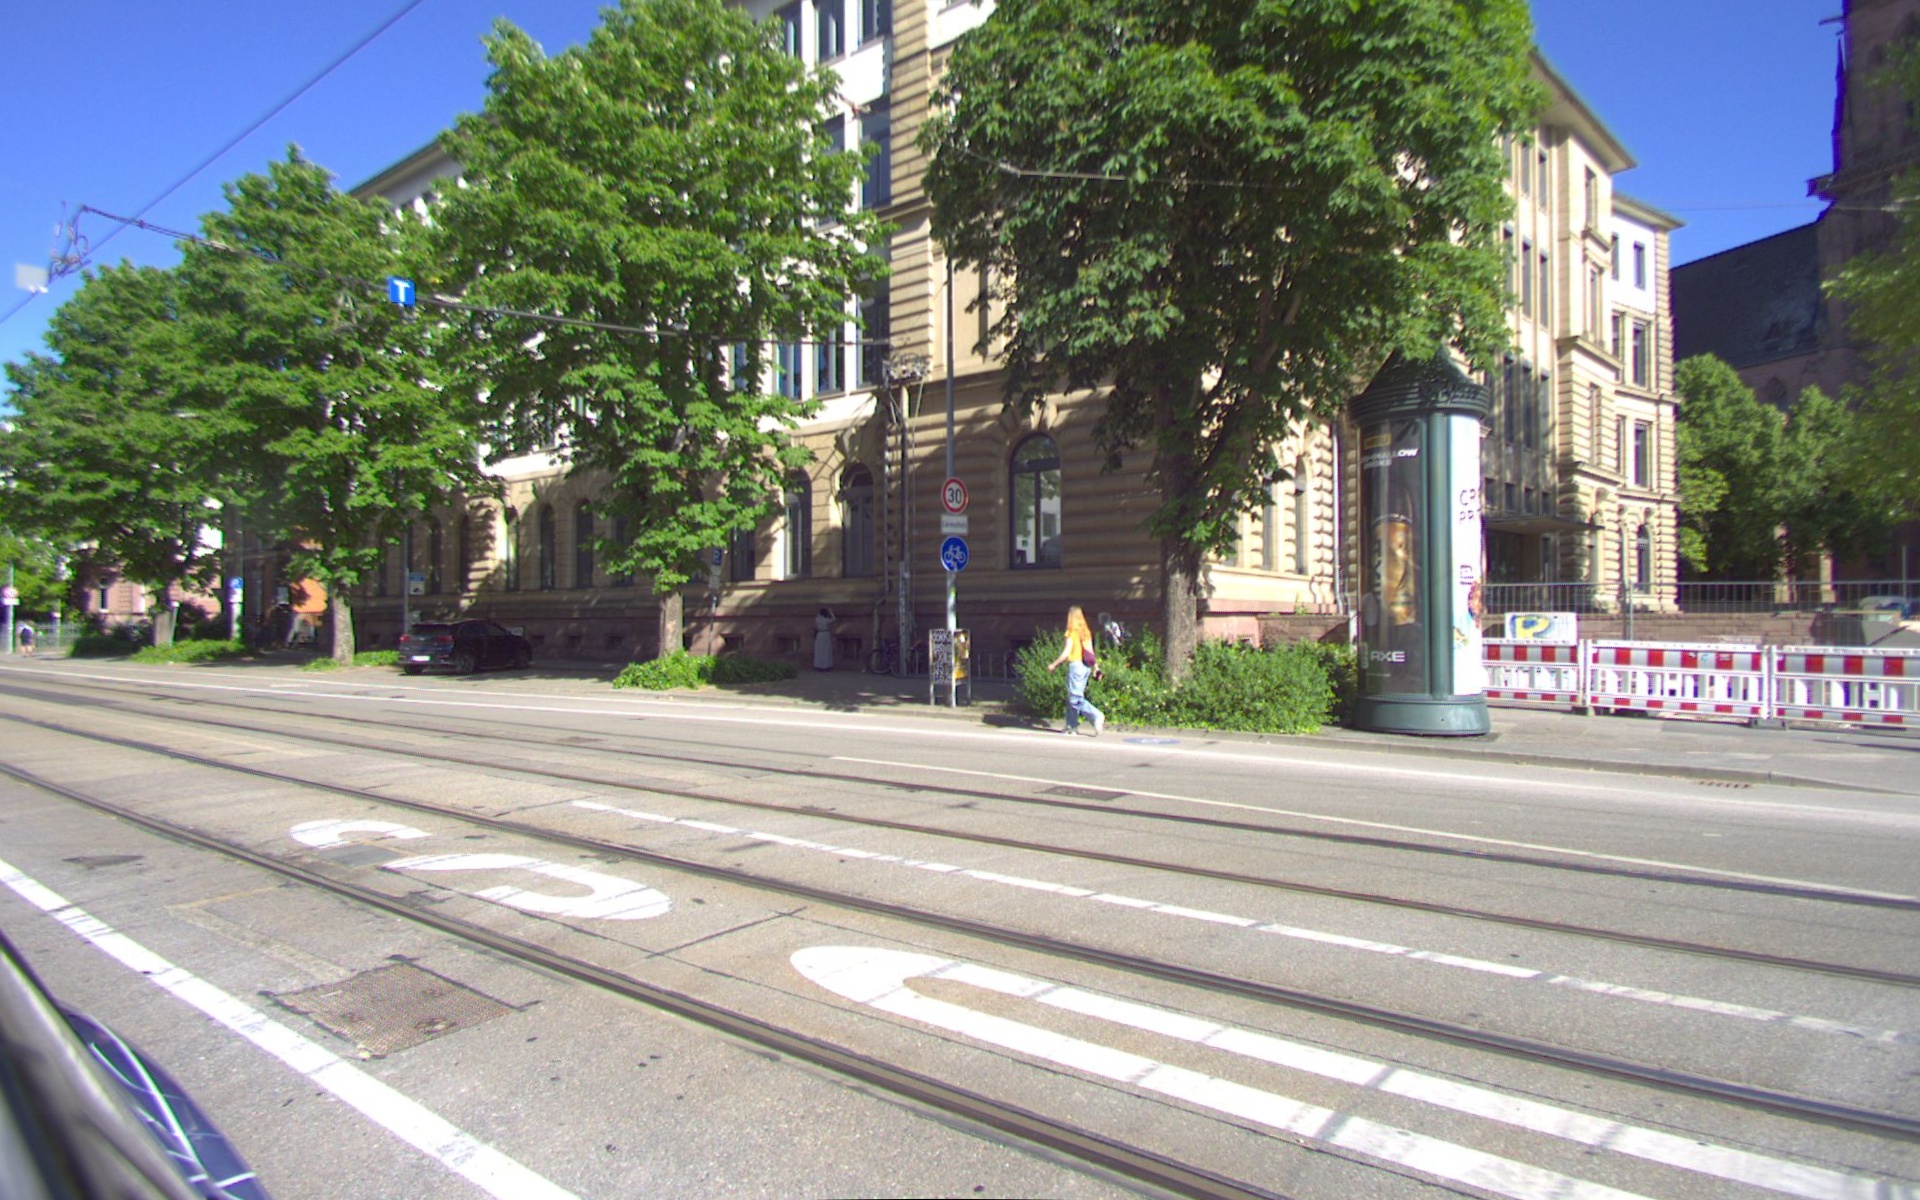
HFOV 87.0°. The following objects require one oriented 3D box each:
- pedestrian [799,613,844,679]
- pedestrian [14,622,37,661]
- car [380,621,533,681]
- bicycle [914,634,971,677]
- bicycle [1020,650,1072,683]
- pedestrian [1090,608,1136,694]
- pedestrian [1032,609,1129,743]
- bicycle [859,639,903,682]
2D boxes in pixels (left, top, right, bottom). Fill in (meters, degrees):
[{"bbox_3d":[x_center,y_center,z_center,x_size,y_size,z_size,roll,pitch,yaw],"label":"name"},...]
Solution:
[{"bbox_3d":[-3.508,1.146,25.707,0.673,1.578,0.847,-1,2,42],"label":"pedestrian"},{"bbox_3d":[-45.846,2.017,49.632,0.653,1.870,0.719,-2,-2,39],"label":"pedestrian"},{"bbox_3d":[-14.300,1.422,29.013,1.899,1.586,4.098,-1,-2,9],"label":"car"},{"bbox_3d":[-0.410,1.259,23.218,1.359,0.910,0.393,0,0,39],"label":"bicycle"},{"bbox_3d":[1.830,1.409,21.573,1.100,0.641,0.290,0,0,36],"label":"bicycle"},{"bbox_3d":[2.888,0.953,19.070,0.653,1.574,0.571,-2,-2,37],"label":"pedestrian"},{"bbox_3d":[1.593,0.975,13.341,1.031,1.682,0.762,-1,-3,35],"label":"pedestrian"},{"bbox_3d":[-1.851,1.402,23.595,1.101,0.963,0.339,0,0,39],"label":"bicycle"}]
